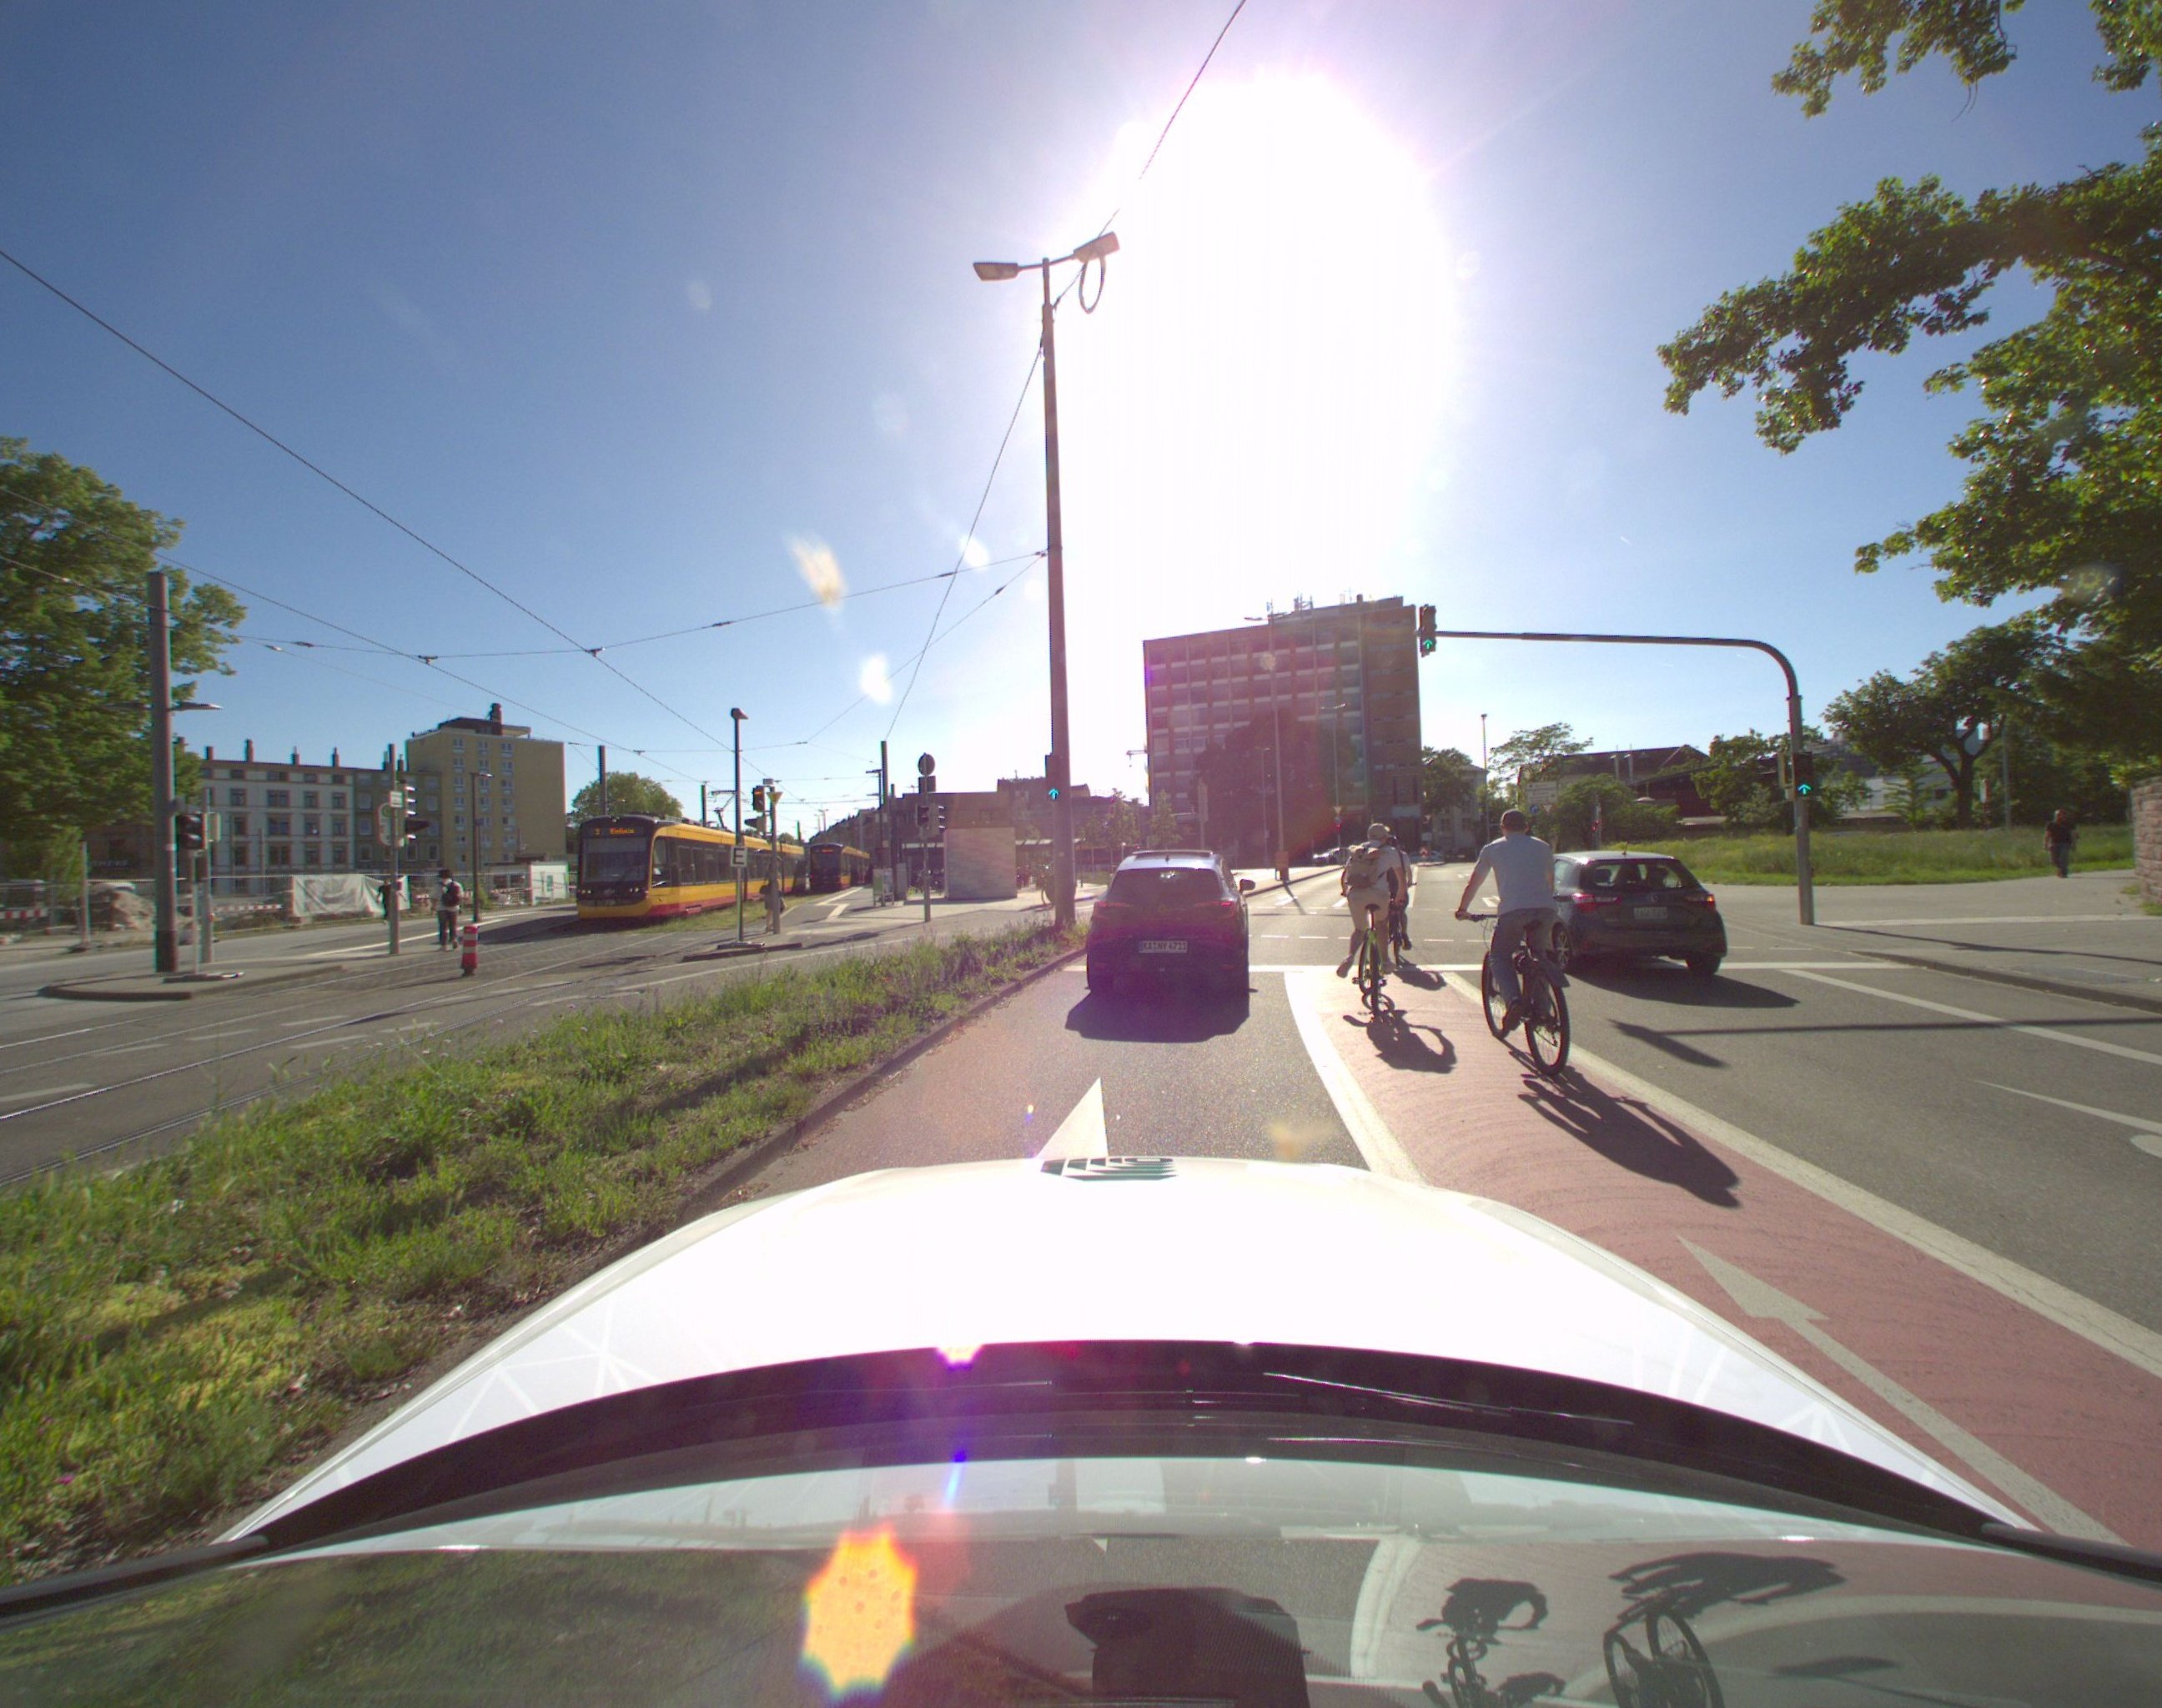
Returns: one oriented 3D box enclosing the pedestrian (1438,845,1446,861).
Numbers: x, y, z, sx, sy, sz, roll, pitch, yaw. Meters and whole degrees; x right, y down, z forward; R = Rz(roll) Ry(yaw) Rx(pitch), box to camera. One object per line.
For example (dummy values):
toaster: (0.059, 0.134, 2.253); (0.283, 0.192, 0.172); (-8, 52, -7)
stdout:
pedestrian: (38.855, -0.102, 87.661); (0.555, 1.670, 0.479); (-2, -2, 38)

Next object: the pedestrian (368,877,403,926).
pedestrian: (-26.397, 1.791, 30.921); (0.668, 1.767, 0.796); (-2, -1, -13)

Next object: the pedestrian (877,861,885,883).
pedestrian: (-17.528, 1.593, 71.342); (0.632, 1.857, 0.700); (-1, -2, -9)

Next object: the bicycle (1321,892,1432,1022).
bicycle: (2.917, 0.969, 8.221); (0.659, 1.047, 1.895); (-2, 0, 8)

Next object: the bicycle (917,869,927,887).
bicycle: (-10.185, 1.547, 52.204); (0.566, 1.093, 2.023); (-1, -2, -9)

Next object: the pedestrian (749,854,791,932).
pedestrian: (-7.741, 0.958, 20.316); (0.902, 1.850, 0.759); (-2, 2, -20)

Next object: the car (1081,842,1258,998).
car: (1.200, 0.691, 10.264); (1.812, 1.600, 3.668); (-1, 0, 9)

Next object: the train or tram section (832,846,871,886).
train or tram section: (-22.360, 1.165, 79.776); (2.873, 3.508, 10.497); (-1, -1, -12)

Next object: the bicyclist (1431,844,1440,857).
bicyclist: (40.103, -0.406, 92.140); (0.821, 1.444, 0.614); (-2, -1, -30)

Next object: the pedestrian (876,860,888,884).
pedestrian: (-15.327, 1.395, 62.812); (0.848, 1.883, 0.757); (0, -2, -14)

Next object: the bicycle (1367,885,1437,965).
bicycle: (4.480, 0.951, 11.471); (0.717, 0.960, 1.891); (-1, 0, 16)

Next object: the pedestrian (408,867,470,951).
pedestrian: (-14.482, 1.231, 18.360); (1.006, 1.832, 0.765); (-3, -2, 31)

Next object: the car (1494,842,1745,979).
car: (7.045, 0.670, 11.122); (1.743, 1.542, 3.673); (-1, -1, 15)

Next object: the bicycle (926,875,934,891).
bicycle: (-8.840, 1.691, 47.586); (0.422, 0.938, 1.300); (0, -1, -13)

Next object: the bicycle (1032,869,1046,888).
bicycle: (-2.213, 1.273, 42.876); (0.580, 0.961, 2.053); (-1, -2, -7)

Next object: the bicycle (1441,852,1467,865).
bicycle: (40.632, 0.514, 88.624); (2.427, 1.370, 0.856); (-2, -2, 32)

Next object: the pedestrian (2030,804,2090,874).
pedestrian: (26.642, -0.409, 22.162); (1.052, 1.832, 0.754); (-2, -1, -27)

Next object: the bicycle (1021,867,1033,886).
bicycle: (-3.233, 1.339, 48.556); (0.580, 1.088, 2.053); (-1, -2, -7)

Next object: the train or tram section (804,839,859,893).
train or tram section: (-17.971, 0.893, 59.277); (2.873, 3.508, 10.497); (-1, -1, -12)

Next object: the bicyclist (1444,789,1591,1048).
bicyclist: (3.260, 0.452, 6.178); (0.744, 1.776, 1.018); (-2, -1, 16)

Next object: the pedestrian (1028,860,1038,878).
pedestrian: (-4.805, 1.520, 81.244); (0.618, 1.741, 0.793); (-2, -2, 39)

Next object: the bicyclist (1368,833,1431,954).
bicyclist: (4.499, 0.535, 11.558); (0.716, 1.626, 1.059); (-1, 0, 15)

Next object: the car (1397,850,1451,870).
car: (34.563, 0.592, 82.139); (4.605, 1.900, 2.013); (-2, -2, 36)

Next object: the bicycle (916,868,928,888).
bicycle: (-8.960, 1.346, 45.873); (0.566, 1.093, 2.023); (-1, -2, -9)

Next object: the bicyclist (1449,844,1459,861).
bicyclist: (40.611, -0.156, 88.644); (0.848, 1.846, 0.856); (-2, -2, 32)

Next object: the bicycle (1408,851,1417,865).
bicycle: (39.013, 0.475, 95.777); (0.874, 1.541, 2.825); (-2, -2, 22)

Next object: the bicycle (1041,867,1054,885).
bicycle: (-2.025, 1.320, 48.606); (0.580, 1.088, 2.053); (-1, -2, -7)

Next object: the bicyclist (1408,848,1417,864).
bicyclist: (39.012, 0.256, 95.776); (0.874, 1.797, 1.167); (-2, -2, 22)

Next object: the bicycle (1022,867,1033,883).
bicycle: (-3.709, 1.441, 56.041); (0.580, 1.088, 1.865); (-1, -2, -9)

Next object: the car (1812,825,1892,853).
car: (62.236, -1.178, 65.819); (4.305, 2.014, 2.012); (-2, -2, 33)

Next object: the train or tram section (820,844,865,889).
train or tram section: (-20.170, 1.048, 69.439); (2.873, 3.508, 10.497); (-1, -1, -12)

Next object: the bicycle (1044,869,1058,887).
bicycle: (-1.599, 1.265, 42.953); (0.580, 0.961, 2.053); (-1, -2, -7)

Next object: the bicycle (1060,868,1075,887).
bicycle: (-0.709, 1.256, 43.178); (0.580, 0.961, 2.053); (-1, -2, -7)

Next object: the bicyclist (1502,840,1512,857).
bicyclist: (44.686, -0.599, 85.379); (0.850, 1.692, 0.889); (-2, -2, 26)

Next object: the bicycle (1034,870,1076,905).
bicycle: (-0.837, 1.090, 27.196); (0.767, 1.080, 2.044); (-3, -1, 16)

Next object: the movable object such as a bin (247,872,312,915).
movable object such as a bin: (-53.816, 2.644, 54.698); (3.950, 2.796, 1.844); (-2, -2, 26)

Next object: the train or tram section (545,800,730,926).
train or tram section: (-14.882, 0.319, 28.454); (2.820, 3.508, 10.432); (-2, 0, -13)

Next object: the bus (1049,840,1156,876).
bus: (2.074, 0.544, 86.595); (12.286, 3.396, 2.900); (-2, -2, 41)

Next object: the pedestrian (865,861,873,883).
pedestrian: (-18.330, 1.585, 70.564); (0.634, 1.857, 0.698); (0, -2, -17)

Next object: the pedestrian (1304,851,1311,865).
pedestrian: (27.023, 0.462, 97.178); (0.555, 1.670, 0.479); (-2, -2, 38)

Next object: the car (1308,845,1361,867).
car: (21.741, 0.184, 69.708); (4.262, 1.568, 1.807); (-3, -1, -29)

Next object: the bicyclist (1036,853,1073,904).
bicyclist: (-0.869, 0.802, 27.189); (0.873, 1.644, 1.065); (-3, -1, 16)

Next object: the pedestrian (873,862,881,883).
pedestrian: (-18.584, 1.690, 74.154); (0.700, 1.857, 0.632); (-1, -2, -10)

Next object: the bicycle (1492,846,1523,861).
bicycle: (44.699, -0.038, 85.366); (2.775, 1.541, 0.889); (-2, -2, 26)

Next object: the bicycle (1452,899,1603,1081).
bicycle: (3.325, 0.935, 6.229); (0.606, 1.077, 1.838); (-2, -1, 16)

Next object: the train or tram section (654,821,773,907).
train or tram section: (-17.035, 0.467, 38.620); (2.818, 3.508, 10.568); (-1, -1, -11)

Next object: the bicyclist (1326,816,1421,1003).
bicyclist: (2.893, 0.529, 8.148); (0.660, 1.747, 1.008); (-2, -1, 8)

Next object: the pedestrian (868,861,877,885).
pedestrian: (-16.285, 1.490, 63.735); (0.604, 1.857, 0.791); (-1, -2, -10)

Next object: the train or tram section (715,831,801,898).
train or tram section: (-19.180, 0.634, 49.111); (2.818, 3.508, 11.165); (-1, -1, -11)

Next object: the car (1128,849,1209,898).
car: (3.225, 0.652, 29.254); (1.784, 1.393, 4.115); (-2, 2, 22)

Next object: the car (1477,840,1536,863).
car: (39.501, -0.198, 75.602); (4.605, 2.014, 2.012); (-2, -2, 32)

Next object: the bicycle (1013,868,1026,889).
bicycle: (-3.239, 1.280, 42.519); (0.580, 1.058, 1.811); (-1, -2, -7)
